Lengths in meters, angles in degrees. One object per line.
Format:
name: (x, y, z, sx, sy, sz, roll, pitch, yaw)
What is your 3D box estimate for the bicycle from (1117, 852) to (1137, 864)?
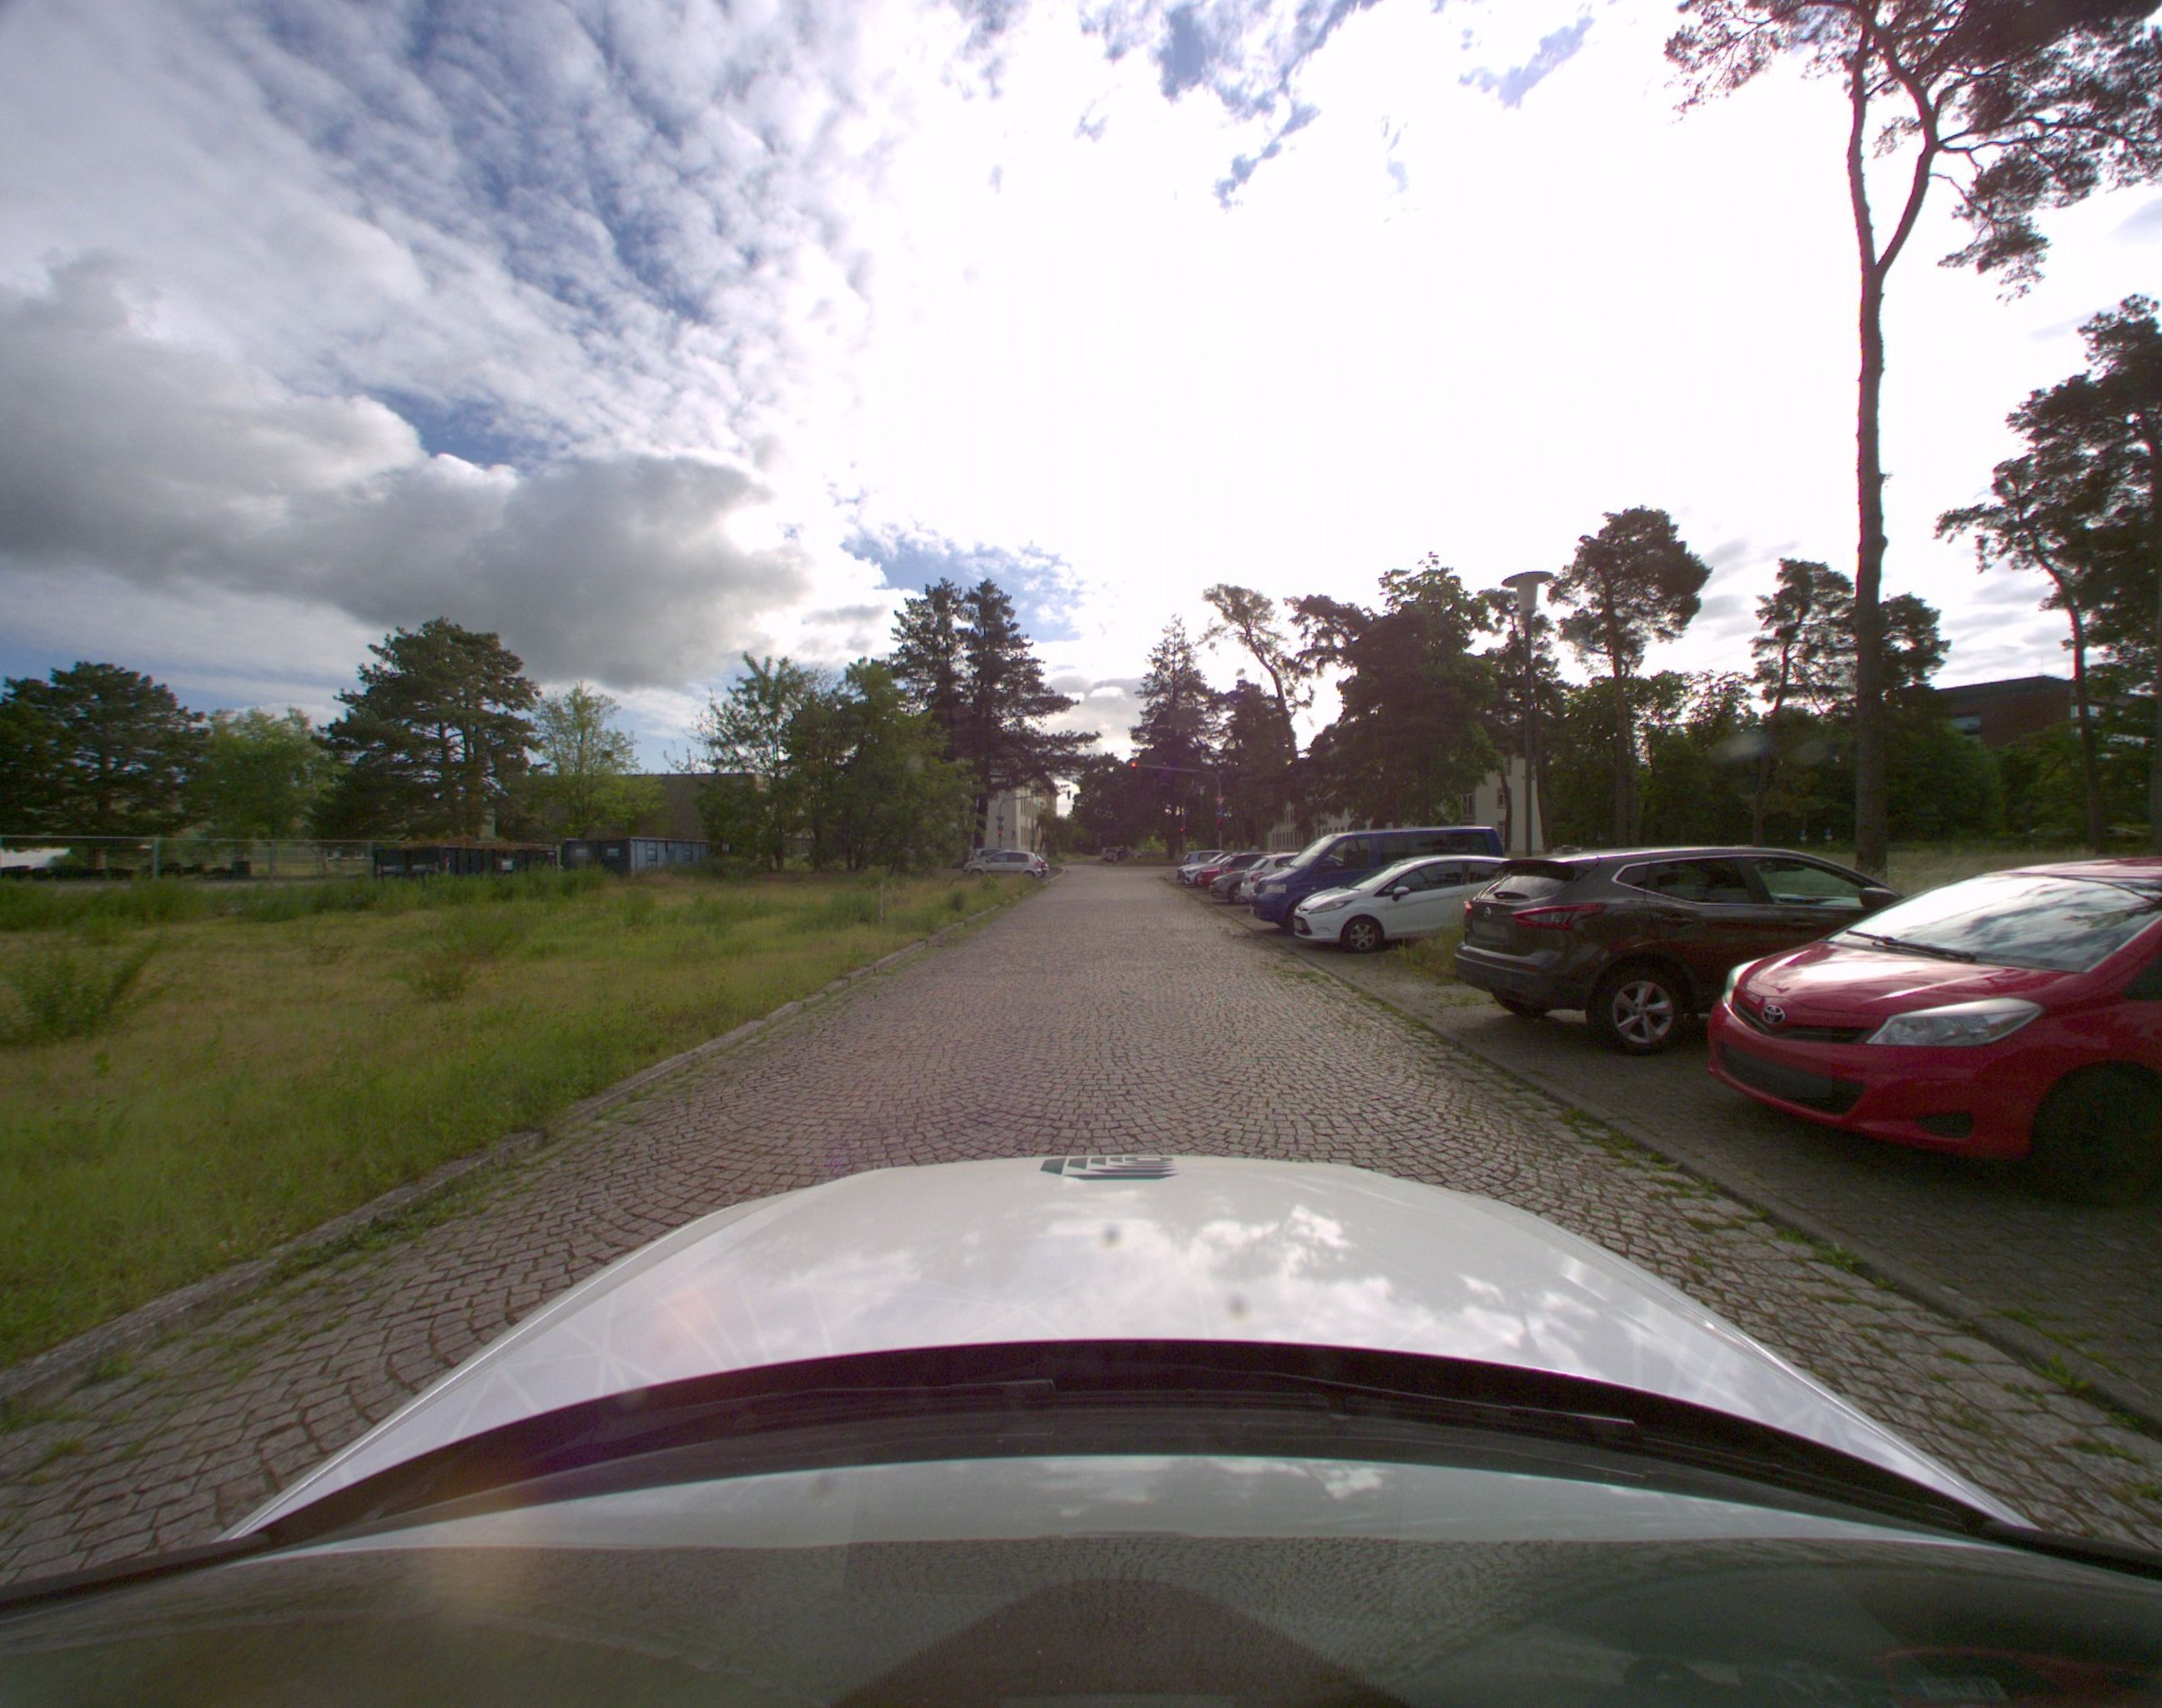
bicycle: (5.003, 0.432, 88.775, 2.157, 1.268, 0.811, 0, 0, -5)

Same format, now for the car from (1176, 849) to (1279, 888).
car: (6.150, 0.601, 34.412, 3.979, 1.543, 1.662, -1, 0, -4)

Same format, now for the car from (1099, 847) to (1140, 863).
car: (5.056, 0.159, 106.610, 5.049, 2.013, 1.994, 0, 0, -9)

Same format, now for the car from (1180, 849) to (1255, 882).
car: (6.613, 0.542, 39.728, 3.382, 1.543, 1.389, -1, 0, -4)

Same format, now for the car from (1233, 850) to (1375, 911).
car: (5.769, 0.657, 21.328, 3.282, 1.504, 1.664, -1, 0, -1)

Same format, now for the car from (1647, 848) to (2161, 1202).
car: (5.638, 0.739, 4.388, 3.972, 1.518, 1.739, -1, 0, 1)

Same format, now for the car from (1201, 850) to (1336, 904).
car: (5.546, 0.649, 24.283, 3.597, 1.506, 1.659, -1, 0, -9)

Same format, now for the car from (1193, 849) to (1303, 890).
car: (6.531, 0.595, 32.107, 3.979, 1.543, 1.662, 0, 0, -4)

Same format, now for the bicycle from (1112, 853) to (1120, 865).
bicycle: (3.621, 0.489, 85.044, 0.806, 1.268, 1.974, 0, 0, 3)

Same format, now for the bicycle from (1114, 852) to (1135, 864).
bicycle: (4.825, 0.443, 90.581, 2.157, 1.268, 0.811, 0, 0, -5)

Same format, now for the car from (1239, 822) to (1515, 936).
car: (5.639, 0.451, 15.900, 4.767, 2.039, 1.738, -1, 0, -1)

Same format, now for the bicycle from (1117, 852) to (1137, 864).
bicycle: (5.019, 0.436, 89.363, 2.157, 1.268, 0.811, 0, 0, -5)

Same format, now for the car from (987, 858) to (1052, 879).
car: (-3.526, 0.821, 46.934, 3.664, 1.094, 1.644, -1, 0, -5)

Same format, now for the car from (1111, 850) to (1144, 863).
car: (5.904, 0.278, 103.312, 3.980, 1.644, 1.997, 0, 0, -5)

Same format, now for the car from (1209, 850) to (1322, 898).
car: (6.117, 0.623, 27.150, 3.291, 1.504, 1.659, -1, 0, -9)

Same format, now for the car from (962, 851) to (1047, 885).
car: (-3.646, 0.658, 39.146, 3.980, 1.552, 1.997, -1, 0, -5)

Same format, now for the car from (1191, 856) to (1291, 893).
car: (5.833, 0.734, 29.874, 3.286, 1.267, 1.662, -1, 0, -4)

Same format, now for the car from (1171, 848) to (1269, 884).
car: (6.295, 0.530, 37.164, 4.115, 1.543, 1.662, -1, 0, -4)

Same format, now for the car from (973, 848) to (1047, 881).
car: (-3.877, 0.532, 44.689, 3.981, 1.750, 1.923, 0, 0, -6)

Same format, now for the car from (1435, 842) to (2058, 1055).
car: (5.381, 0.702, 6.988, 3.937, 1.580, 1.762, 0, 0, 0)

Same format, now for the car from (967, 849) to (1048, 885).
car: (-3.727, 0.642, 41.637, 3.980, 1.706, 1.997, -1, 0, -5)

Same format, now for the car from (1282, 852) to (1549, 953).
car: (5.391, 0.748, 13.441, 3.711, 1.424, 1.654, -2, 0, -1)

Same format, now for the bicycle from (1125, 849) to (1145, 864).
bicycle: (5.971, 0.278, 90.052, 2.157, 1.616, 0.811, 0, 0, -5)
